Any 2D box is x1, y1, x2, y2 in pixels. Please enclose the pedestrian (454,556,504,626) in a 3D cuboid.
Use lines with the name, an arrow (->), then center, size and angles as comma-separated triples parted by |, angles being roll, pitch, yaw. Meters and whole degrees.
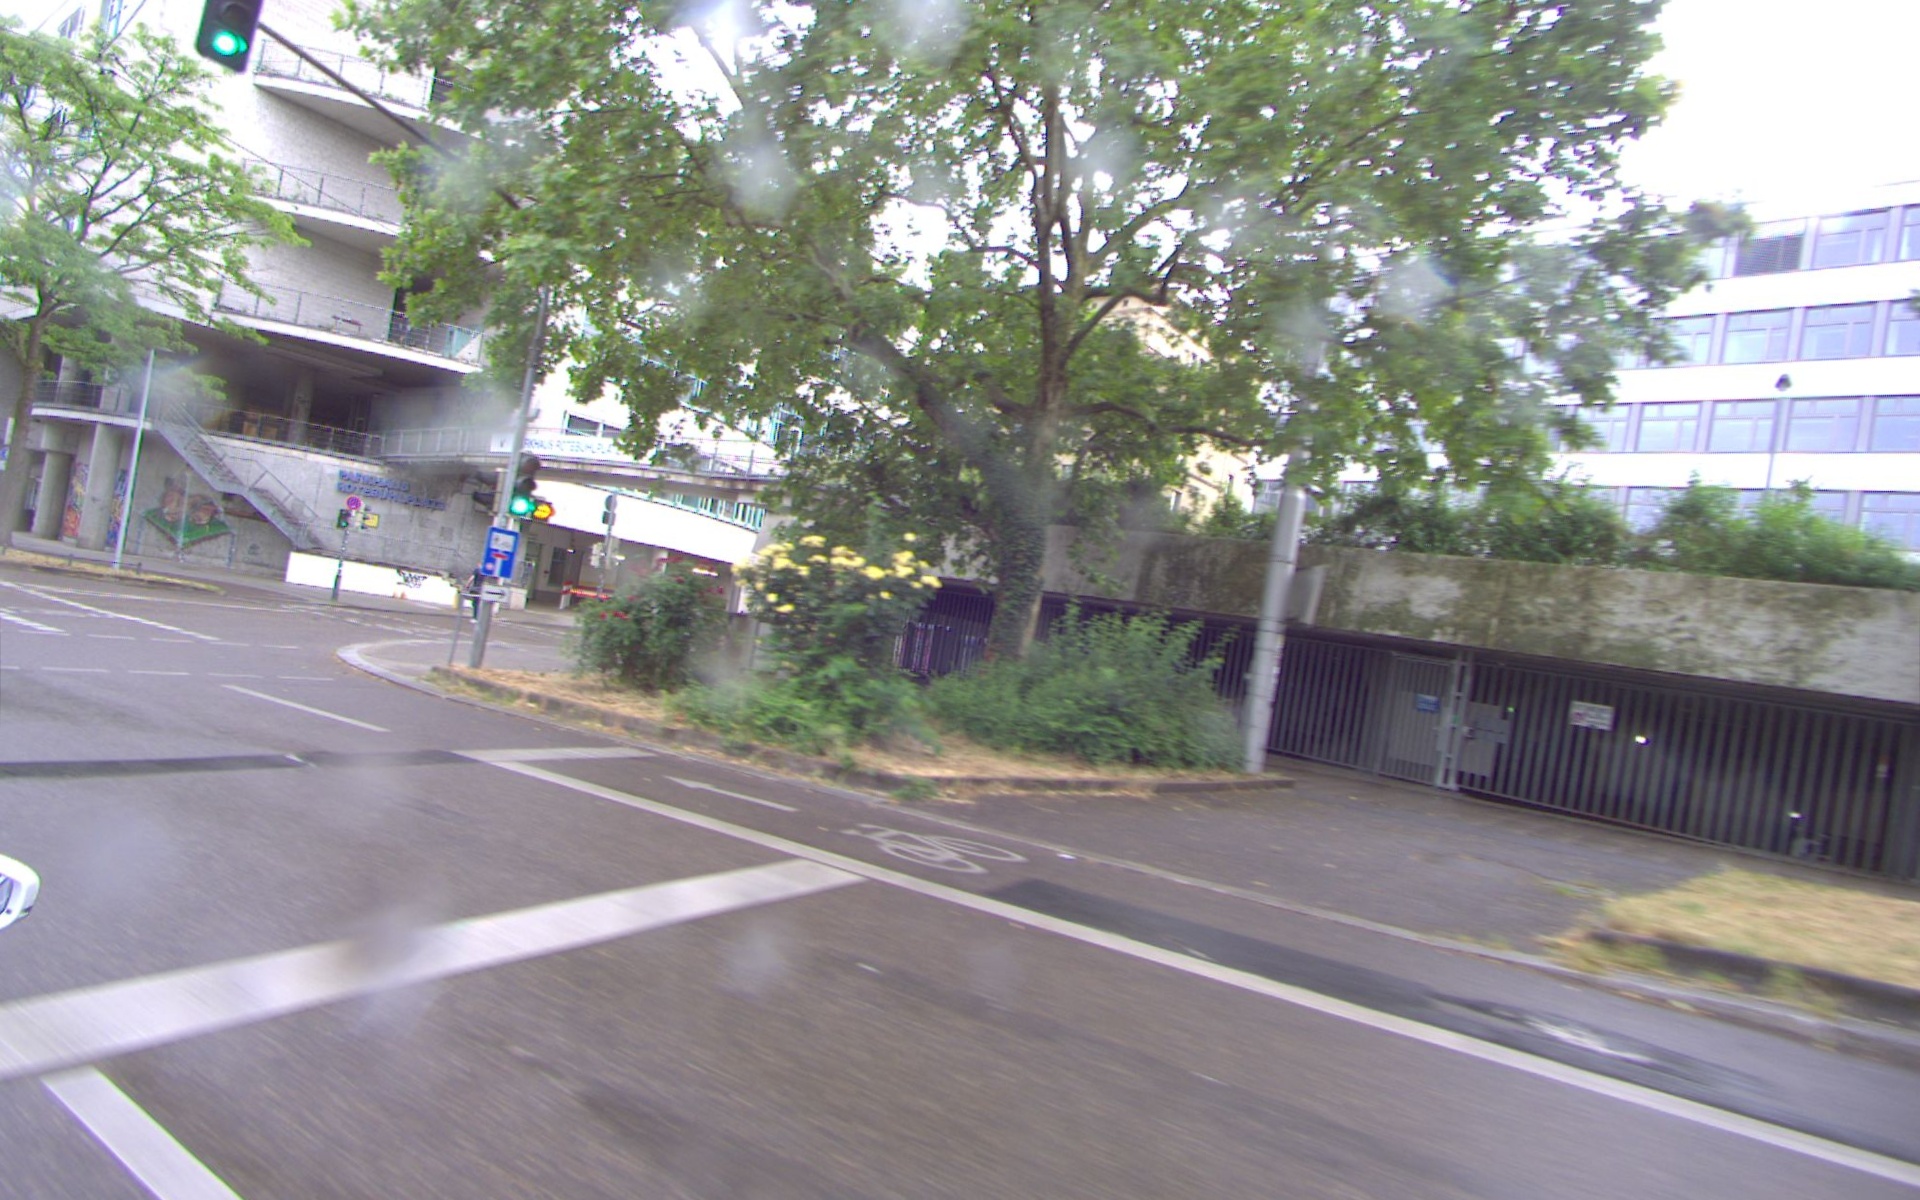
pedestrian -> -14.284, -0.259, 29.868 | 0.745, 1.932, 0.847 | 7, -1, 31
